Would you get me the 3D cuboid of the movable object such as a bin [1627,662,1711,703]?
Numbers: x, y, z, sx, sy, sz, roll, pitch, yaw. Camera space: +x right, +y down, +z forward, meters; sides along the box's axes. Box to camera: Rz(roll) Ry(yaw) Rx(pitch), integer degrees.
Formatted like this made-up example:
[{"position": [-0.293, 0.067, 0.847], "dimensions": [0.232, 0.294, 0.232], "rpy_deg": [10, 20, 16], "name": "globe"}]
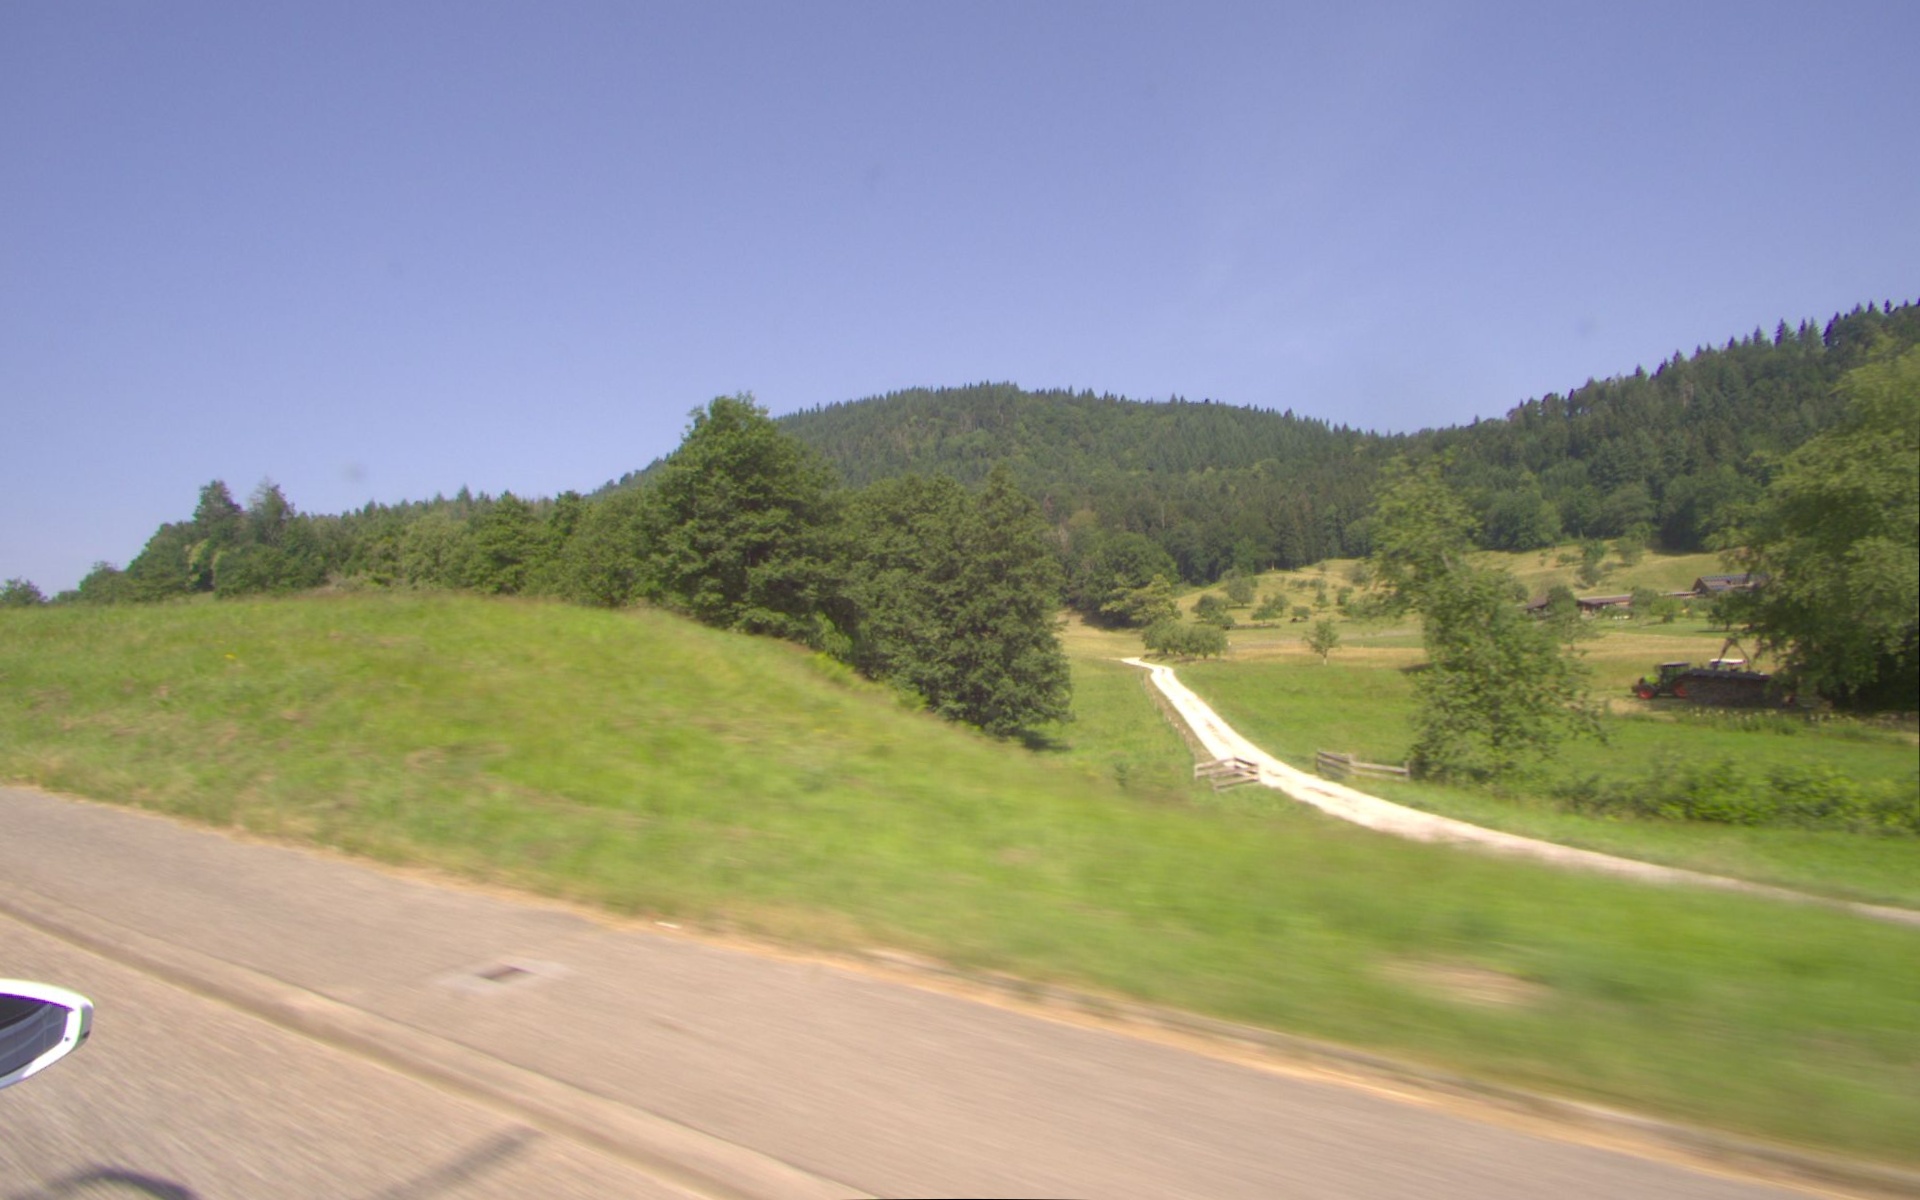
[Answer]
[{"position": [47.432, 5.532, 67.089], "dimensions": [4.485, 2.631, 1.988], "rpy_deg": [-3, -3, 36], "name": "movable object such as a bin"}]
